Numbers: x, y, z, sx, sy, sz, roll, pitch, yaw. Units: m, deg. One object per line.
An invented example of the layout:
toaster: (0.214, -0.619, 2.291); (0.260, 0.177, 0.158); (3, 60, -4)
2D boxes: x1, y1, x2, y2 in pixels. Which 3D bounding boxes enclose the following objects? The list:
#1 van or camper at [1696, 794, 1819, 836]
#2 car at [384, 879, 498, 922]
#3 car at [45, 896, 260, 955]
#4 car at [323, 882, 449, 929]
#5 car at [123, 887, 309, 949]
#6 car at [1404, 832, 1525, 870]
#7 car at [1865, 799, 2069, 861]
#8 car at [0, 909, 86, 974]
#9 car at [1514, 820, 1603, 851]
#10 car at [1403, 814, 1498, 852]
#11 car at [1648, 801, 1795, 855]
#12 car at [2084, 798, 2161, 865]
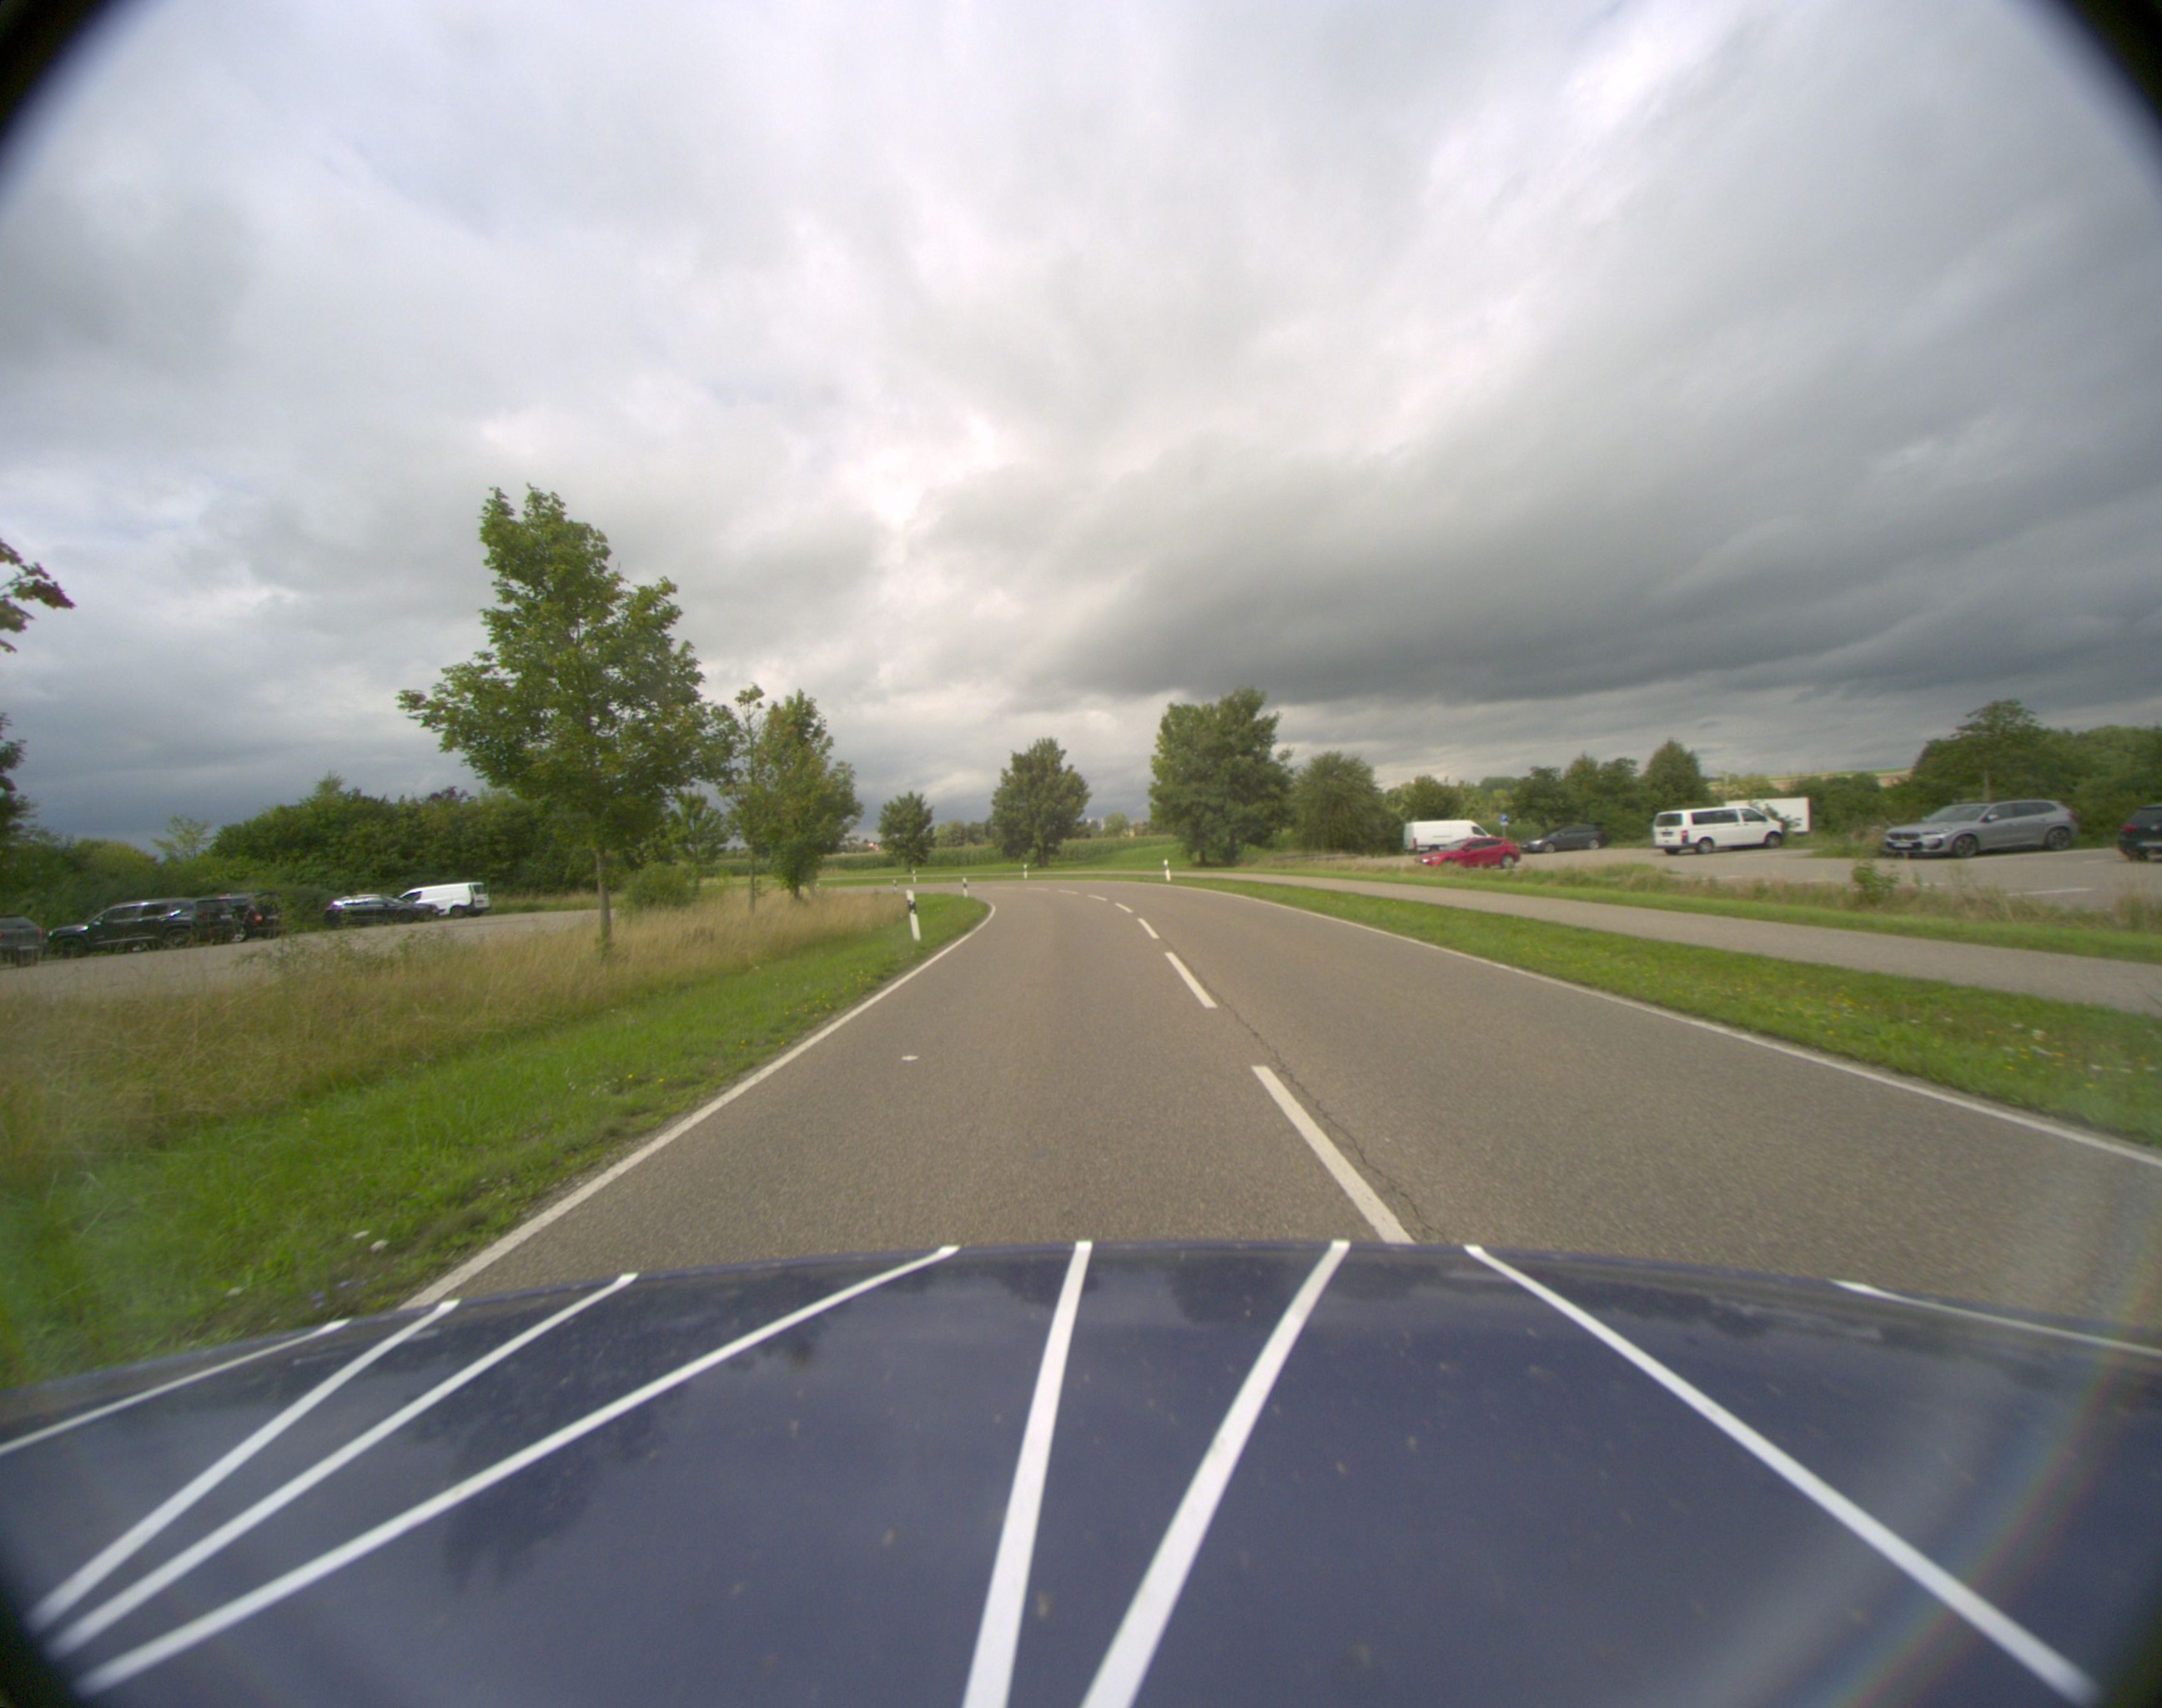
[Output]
van or camper: (45.283, -2.579, 50.979); (6.044, 2.333, 2.285); (-4, 1, 1)
car: (-33.344, 2.403, 39.710); (4.001, 1.849, 1.997); (-3, 1, -14)
car: (-30.722, 2.334, 25.322); (4.002, 1.488, 1.997); (-3, 1, -18)
car: (-33.292, 2.432, 36.517); (4.001, 1.849, 1.742); (-3, 1, -14)
car: (-31.772, 2.292, 28.058); (4.001, 1.849, 1.997); (-3, 1, -14)
car: (16.821, -0.125, 33.485); (4.375, 1.408, 1.813); (-3, 1, -1)
car: (27.320, -0.730, 23.532); (3.997, 1.543, 1.965); (-5, 1, -1)
car: (-29.364, 2.369, 19.627); (4.011, 1.497, 2.049); (-3, 1, -11)
car: (27.407, -1.072, 43.685); (3.998, 1.516, 1.793); (-3, 1, -3)
car: (29.000, -1.662, 59.839); (6.331, 2.604, 2.200); (-3, 1, -1)
car: (27.973, -1.123, 33.291); (4.694, 1.915, 2.060); (-5, 1, -2)
car: (27.670, -0.660, 18.469); (3.997, 1.543, 1.965); (-4, 1, -1)
